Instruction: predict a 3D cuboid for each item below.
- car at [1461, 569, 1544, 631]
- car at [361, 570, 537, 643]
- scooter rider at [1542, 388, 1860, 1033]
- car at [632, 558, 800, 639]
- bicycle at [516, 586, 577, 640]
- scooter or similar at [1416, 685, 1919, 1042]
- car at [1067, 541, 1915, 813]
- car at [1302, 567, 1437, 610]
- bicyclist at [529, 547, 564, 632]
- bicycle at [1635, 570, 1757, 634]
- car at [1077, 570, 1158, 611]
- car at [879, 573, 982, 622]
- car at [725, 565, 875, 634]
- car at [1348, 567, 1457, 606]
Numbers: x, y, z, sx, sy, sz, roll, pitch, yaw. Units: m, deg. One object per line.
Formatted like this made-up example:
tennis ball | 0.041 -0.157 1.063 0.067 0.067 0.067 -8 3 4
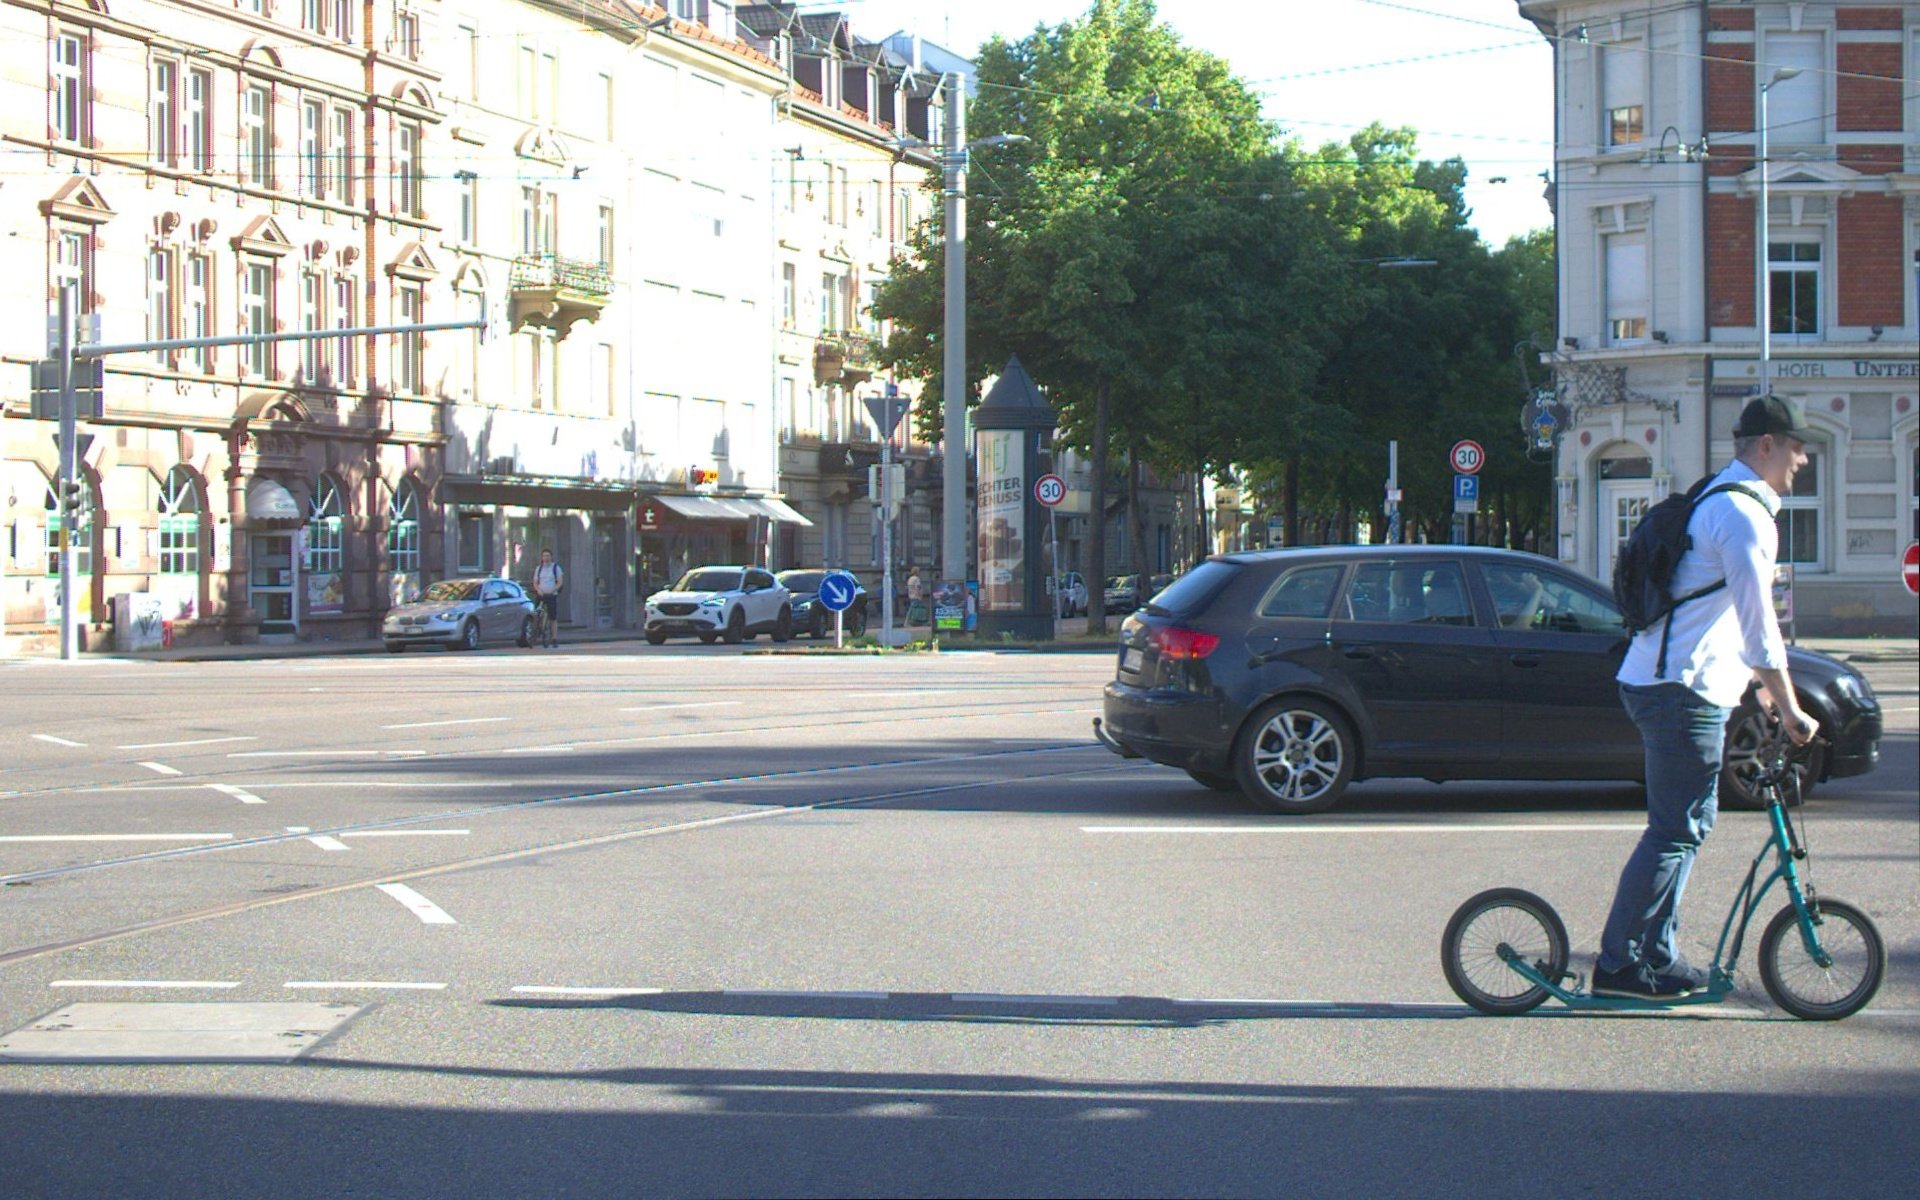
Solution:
car | 13.046 -0.026 82.540 1.756 1.415 3.998 0 1 12
car | -9.927 0.104 67.052 1.995 1.357 3.816 0 1 16
scooter rider | 2.256 0.319 10.557 0.795 1.905 0.797 0 1 -1
car | -4.751 -0.052 67.479 1.995 1.511 4.166 0 1 16
bicycle | -7.847 0.233 65.309 0.655 0.997 1.664 1 1 12
scooter or similar | 2.156 0.794 10.557 1.431 1.040 0.565 0 1 -1
car | 2.836 0.399 18.812 4.270 1.376 1.646 1 1 -7
car | 12.573 -0.348 105.404 3.989 1.284 1.694 0 1 11
bicyclist | -7.839 -0.201 65.202 0.489 1.596 0.666 0 1 10
bicycle | 12.271 0.023 57.353 1.953 1.050 0.715 0 1 10
car | 5.645 -0.337 122.589 1.995 1.400 4.166 0 1 16
car | -0.847 -0.089 102.100 1.995 1.400 4.166 0 1 16
car | -3.399 -0.040 73.653 1.995 1.400 4.166 0 1 16
car | 14.358 -0.429 111.477 3.435 1.235 1.576 0 1 11
